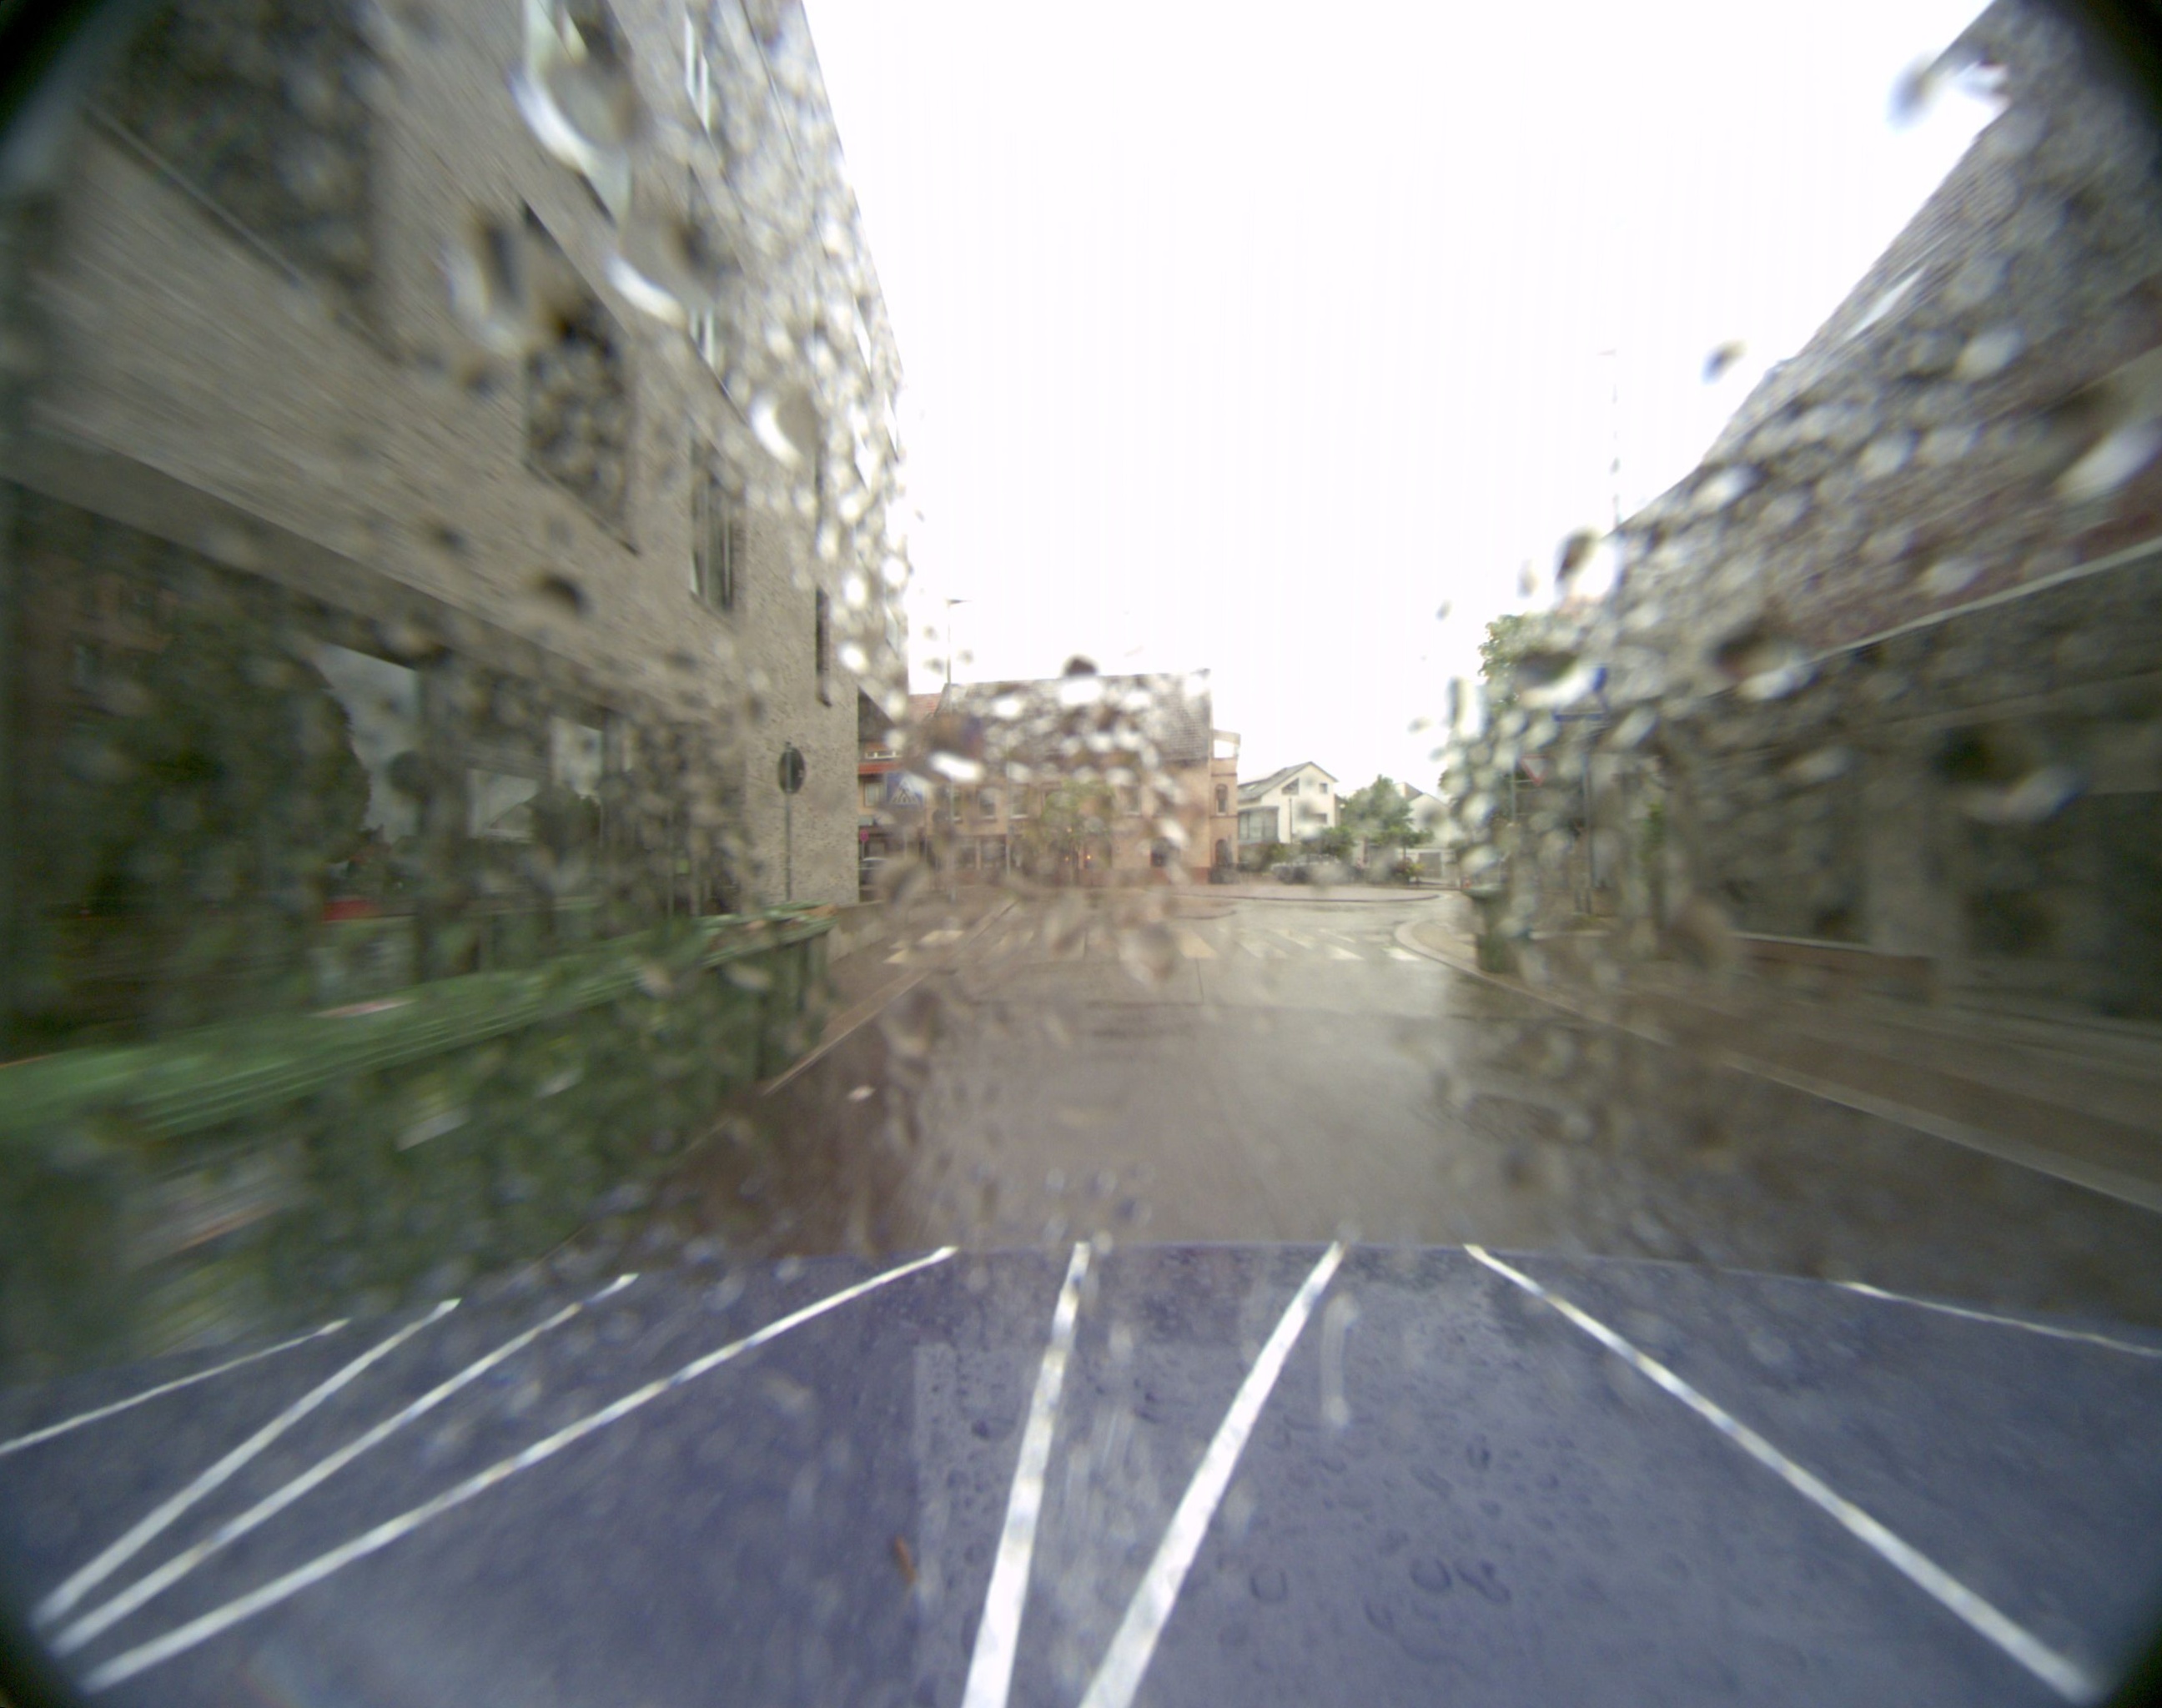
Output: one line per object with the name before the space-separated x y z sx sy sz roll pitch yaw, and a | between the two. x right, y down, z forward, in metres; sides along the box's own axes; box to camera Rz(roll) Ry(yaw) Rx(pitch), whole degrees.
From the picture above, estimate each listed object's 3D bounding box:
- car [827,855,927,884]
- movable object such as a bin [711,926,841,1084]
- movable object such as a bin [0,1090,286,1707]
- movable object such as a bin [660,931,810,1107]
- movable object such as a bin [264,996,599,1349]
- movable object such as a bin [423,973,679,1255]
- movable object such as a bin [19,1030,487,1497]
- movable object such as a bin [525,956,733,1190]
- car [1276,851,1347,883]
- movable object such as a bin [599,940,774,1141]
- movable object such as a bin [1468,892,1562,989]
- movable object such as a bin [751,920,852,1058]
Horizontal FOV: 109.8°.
car | -10.010 0.769 37.338 4.461 1.422 1.672 0 -2 12
movable object such as a bin | -2.353 1.145 5.926 0.742 1.089 0.657 1 1 0
movable object such as a bin | -2.433 1.155 1.665 0.767 1.089 0.581 1 1 0
movable object such as a bin | -2.378 1.112 5.278 0.767 1.089 0.581 1 1 0
movable object such as a bin | -2.397 1.139 2.878 0.767 1.089 0.581 1 1 0
movable object such as a bin | -2.385 1.142 3.488 0.767 1.089 0.581 1 1 0
movable object such as a bin | -2.399 1.144 2.284 0.767 1.089 0.581 1 1 0
movable object such as a bin | -2.392 1.134 4.088 0.767 1.089 0.581 1 1 0
car | 15.565 0.844 51.325 4.478 2.002 2.003 1 0 18
movable object such as a bin | -2.393 1.108 4.675 0.767 1.089 0.581 1 1 0
movable object such as a bin | 5.337 1.049 9.387 0.689 1.075 0.760 -3 1 -1
movable object such as a bin | -2.393 1.139 6.555 0.664 1.089 0.551 1 1 -1
